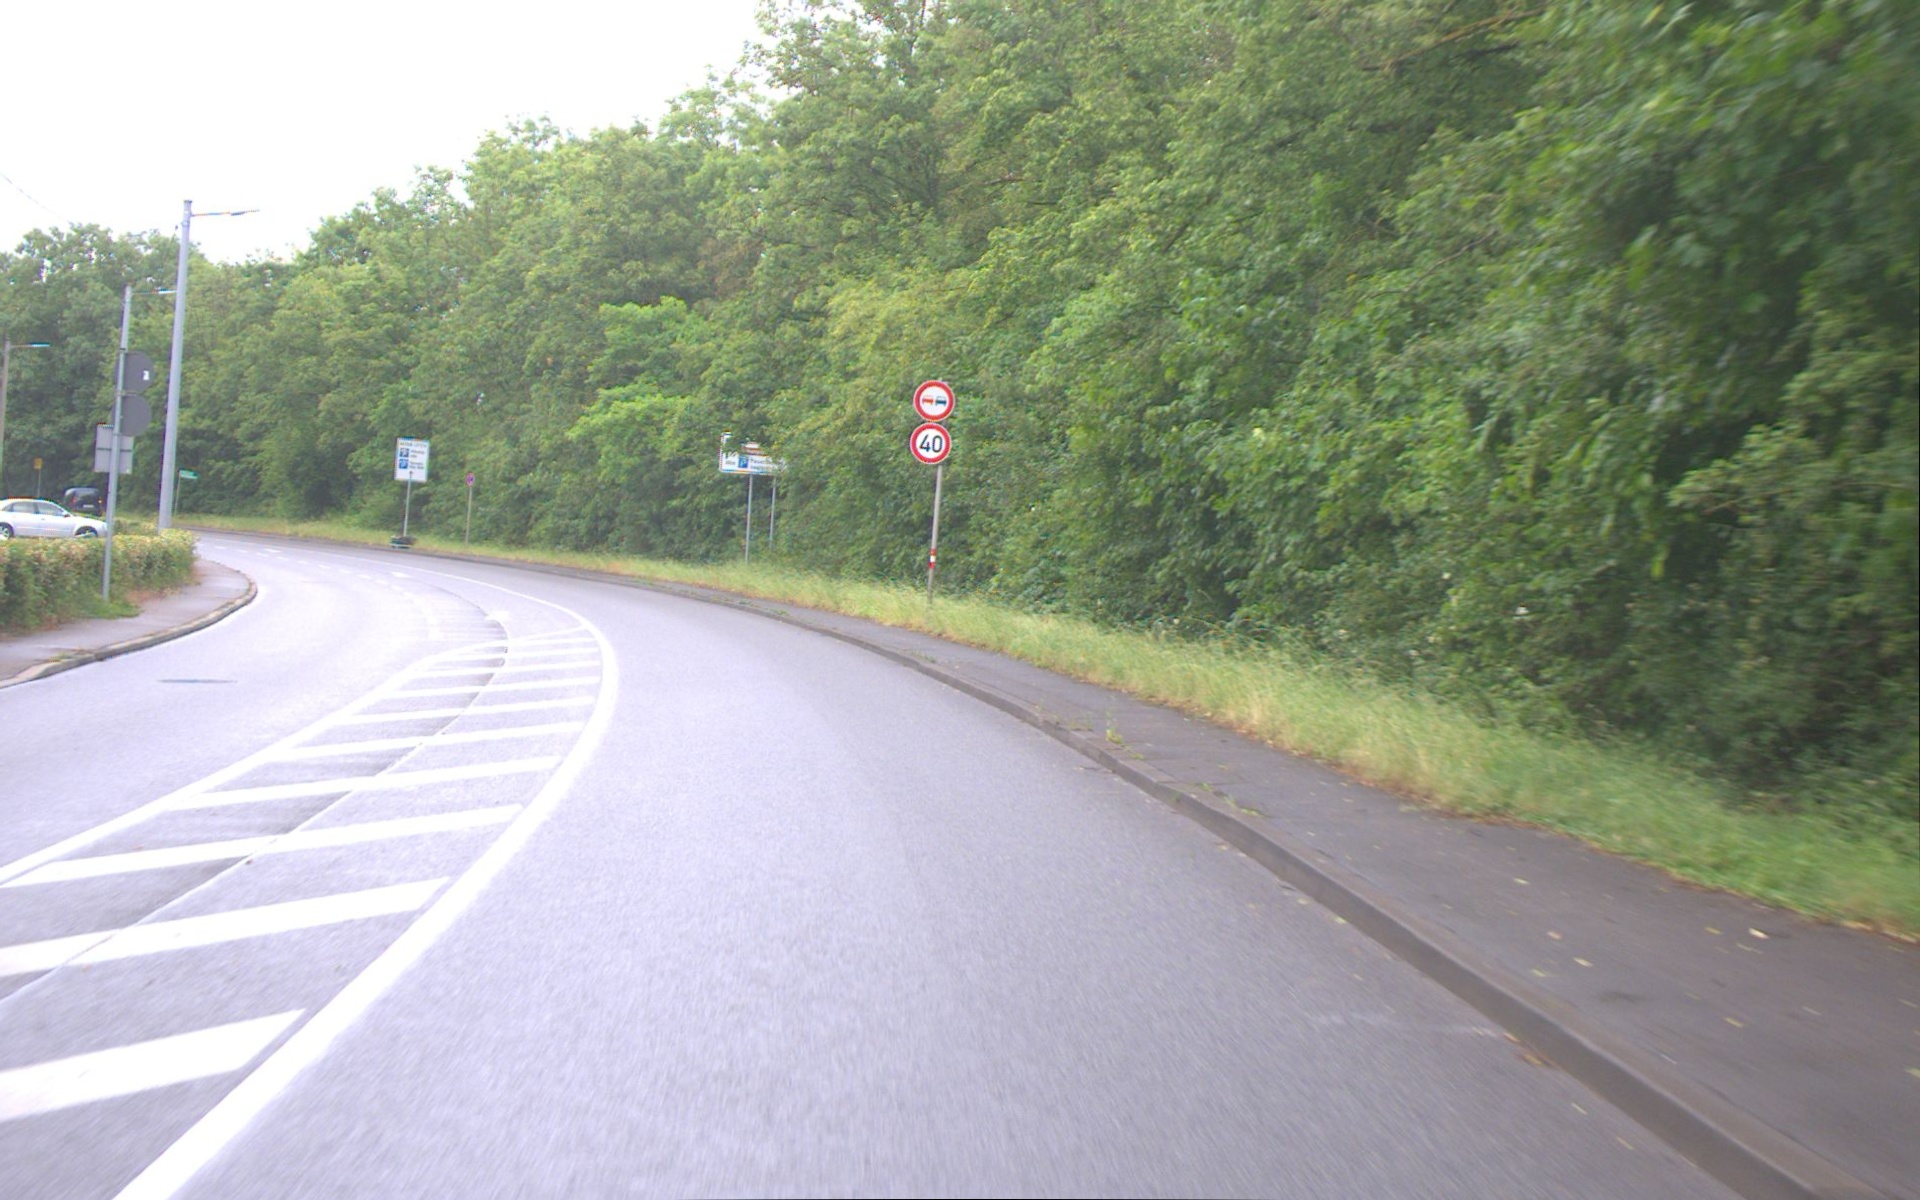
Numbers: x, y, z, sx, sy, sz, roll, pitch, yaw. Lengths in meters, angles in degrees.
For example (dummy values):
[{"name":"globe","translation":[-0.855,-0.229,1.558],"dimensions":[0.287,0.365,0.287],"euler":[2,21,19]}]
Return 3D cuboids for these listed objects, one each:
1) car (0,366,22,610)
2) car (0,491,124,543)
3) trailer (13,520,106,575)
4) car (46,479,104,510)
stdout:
[{"name":"car","translation":[-15.494,-1.535,44.335],"dimensions":[6.270,3.103,2.753],"euler":[2,0,-11]},{"name":"car","translation":[-29.374,-2.696,110.432],"dimensions":[4.574,1.501,2.001],"euler":[2,1,-23]},{"name":"trailer","translation":[-18.408,-1.078,70.321],"dimensions":[1.800,1.031,1.334],"euler":[2,1,-15]},{"name":"car","translation":[-46.767,-5.568,181.674],"dimensions":[1.935,1.493,4.319],"euler":[1,2,-29]}]
